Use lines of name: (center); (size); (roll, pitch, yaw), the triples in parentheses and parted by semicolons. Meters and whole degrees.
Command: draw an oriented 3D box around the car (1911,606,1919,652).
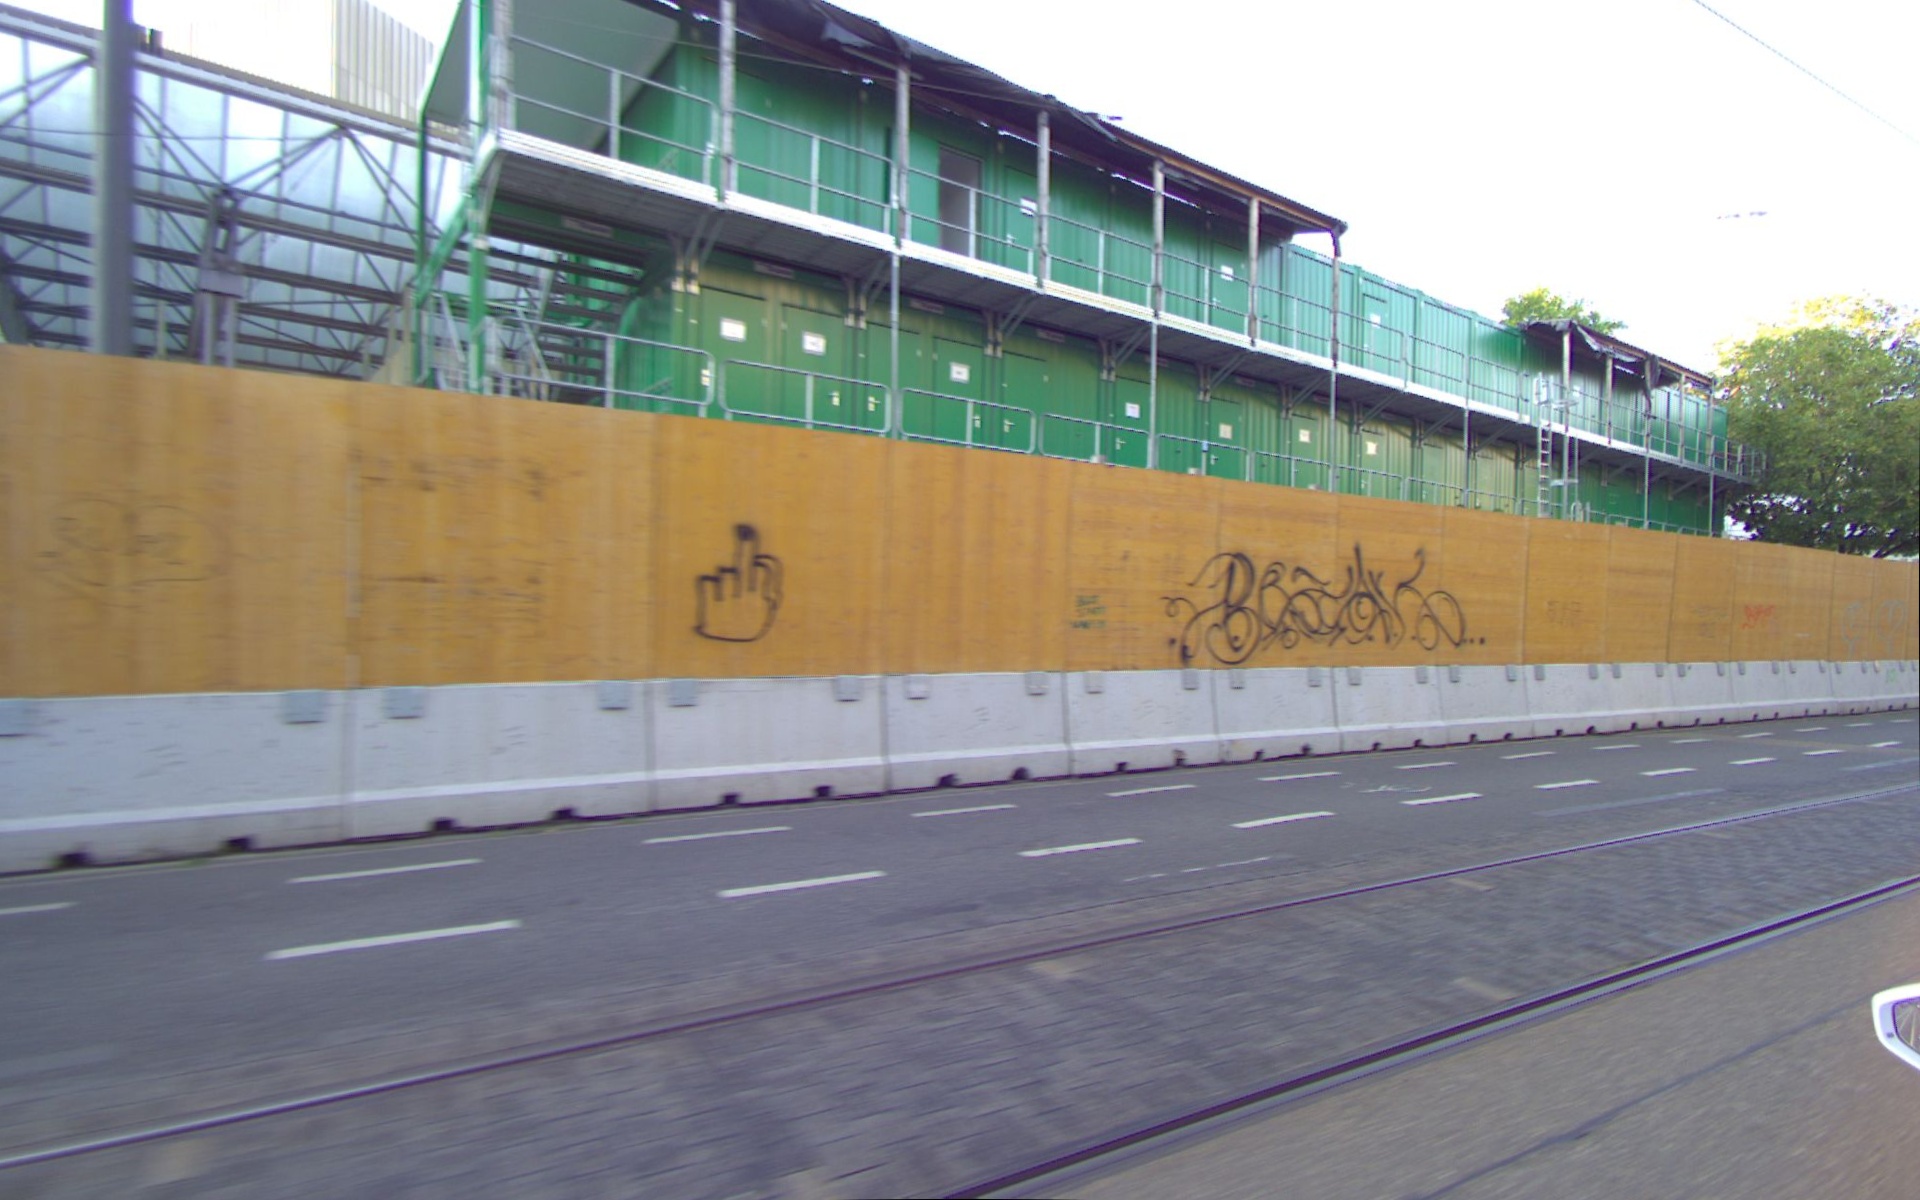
car: (43.055, 1.326, 41.459); (2.197, 1.971, 5.010); (1, 2, -25)

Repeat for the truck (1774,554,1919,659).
truck: (33.314, 0.216, 35.151); (2.514, 3.528, 7.014); (0, 2, -33)

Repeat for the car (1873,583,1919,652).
car: (38.386, 0.743, 37.930); (2.202, 2.593, 5.368); (0, 2, -32)
